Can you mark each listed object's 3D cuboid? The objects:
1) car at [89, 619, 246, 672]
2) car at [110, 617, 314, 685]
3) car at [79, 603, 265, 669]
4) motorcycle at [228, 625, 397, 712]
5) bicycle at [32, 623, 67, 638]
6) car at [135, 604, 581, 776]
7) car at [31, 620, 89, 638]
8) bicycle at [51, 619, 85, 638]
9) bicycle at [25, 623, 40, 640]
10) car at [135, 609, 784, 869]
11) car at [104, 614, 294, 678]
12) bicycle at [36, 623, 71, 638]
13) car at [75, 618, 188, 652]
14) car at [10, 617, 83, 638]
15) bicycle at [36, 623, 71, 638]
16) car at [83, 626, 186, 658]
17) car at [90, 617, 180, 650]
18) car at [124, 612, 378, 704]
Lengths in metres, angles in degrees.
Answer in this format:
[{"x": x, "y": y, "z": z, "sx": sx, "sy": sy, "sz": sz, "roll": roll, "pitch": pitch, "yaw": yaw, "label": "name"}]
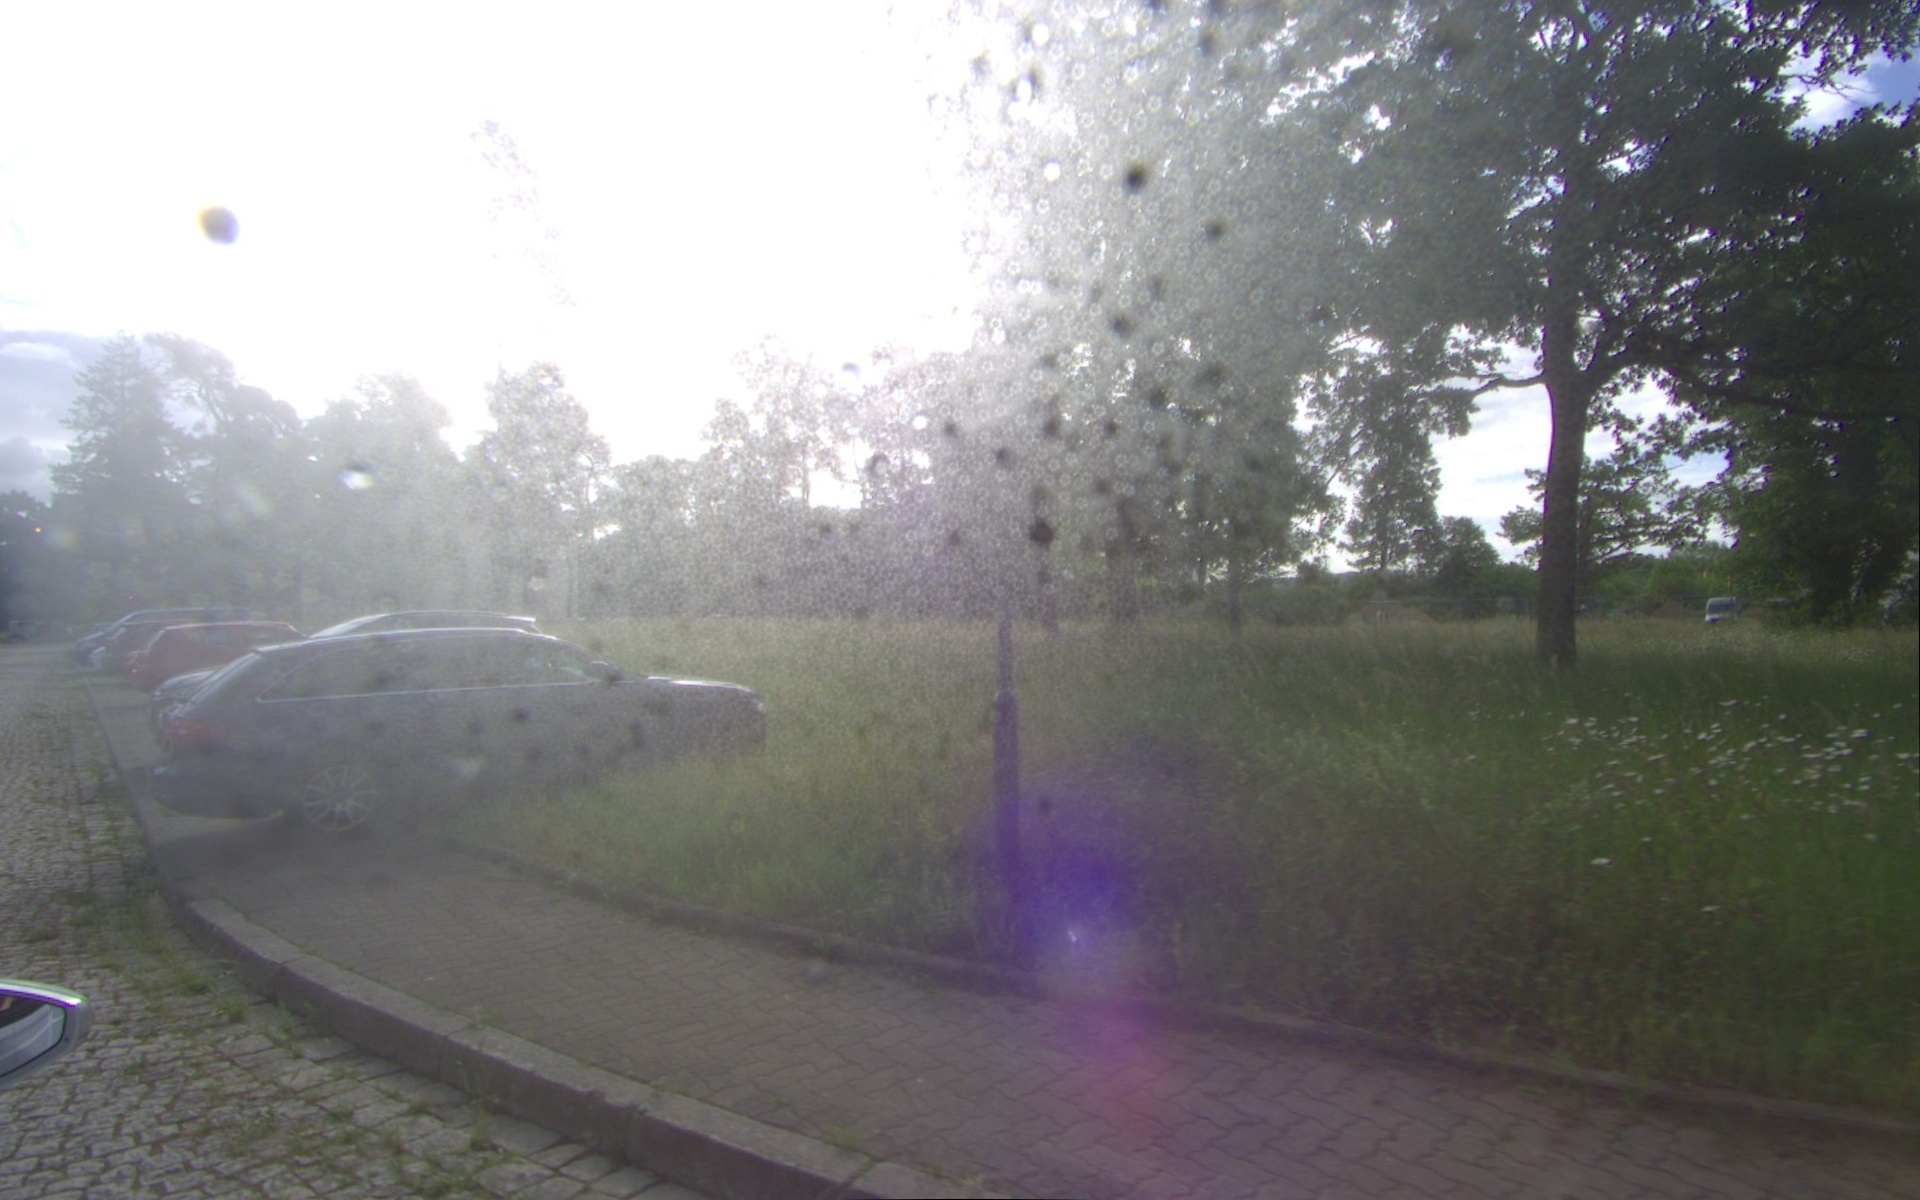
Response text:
[{"x": -24.946, "y": 1.393, "z": 31.590, "sx": 1.638, "sy": 1.443, "sz": 3.698, "roll": -1, "pitch": 1, "yaw": 45, "label": "car"}, {"x": -18.716, "y": 1.208, "z": 25.154, "sx": 3.959, "sy": 1.538, "sz": 1.722, "roll": 0, "pitch": -1, "yaw": -43, "label": "car"}, {"x": -26.411, "y": 1.151, "z": 33.685, "sx": 4.752, "sy": 2.066, "sz": 1.721, "roll": 0, "pitch": 0, "yaw": -45, "label": "car"}, {"x": -10.595, "y": 1.081, "z": 16.475, "sx": 0.599, "sy": 1.292, "sz": 2.252, "roll": -1, "pitch": 0, "yaw": 42, "label": "motorcycle"}, {"x": -78.354, "y": 2.641, "z": 86.202, "sx": 0.803, "sy": 1.285, "sz": 2.150, "roll": 0, "pitch": -1, "yaw": 41, "label": "bicycle"}, {"x": -6.972, "y": 0.888, "z": 11.875, "sx": 4.232, "sy": 1.594, "sz": 1.877, "roll": -1, "pitch": 1, "yaw": -43, "label": "car"}, {"x": -86.328, "y": 2.747, "z": 96.027, "sx": 1.977, "sy": 1.665, "sz": 3.967, "roll": -1, "pitch": -1, "yaw": 41, "label": "car"}, {"x": -77.170, "y": 2.479, "z": 86.619, "sx": 0.803, "sy": 1.637, "sz": 2.150, "roll": 0, "pitch": -1, "yaw": 41, "label": "bicycle"}, {"x": -75.413, "y": 2.557, "z": 81.420, "sx": 0.804, "sy": 1.285, "sz": 1.956, "roll": 0, "pitch": -1, "yaw": -41, "label": "bicycle"}, {"x": -3.907, "y": 0.878, "z": 8.319, "sx": 4.467, "sy": 1.484, "sz": 1.880, "roll": -2, "pitch": 1, "yaw": -39, "label": "car"}, {"x": -20.439, "y": 1.179, "z": 26.992, "sx": 3.925, "sy": 1.601, "sz": 1.745, "roll": 1, "pitch": -1, "yaw": -44, "label": "car"}, {"x": -76.986, "y": 2.595, "z": 85.037, "sx": 0.803, "sy": 1.285, "sz": 2.150, "roll": 0, "pitch": -1, "yaw": 41, "label": "bicycle"}, {"x": -40.597, "y": 1.667, "z": 49.132, "sx": 1.645, "sy": 1.564, "sz": 4.101, "roll": 0, "pitch": 0, "yaw": 42, "label": "car"}, {"x": -89.203, "y": 2.681, "z": 97.792, "sx": 1.975, "sy": 2.040, "sz": 5.033, "roll": -1, "pitch": -1, "yaw": 37, "label": "car"}, {"x": -77.378, "y": 2.612, "z": 85.467, "sx": 0.803, "sy": 1.285, "sz": 2.150, "roll": 0, "pitch": -1, "yaw": 41, "label": "bicycle"}, {"x": -35.919, "y": 1.793, "z": 43.613, "sx": 1.645, "sy": 1.284, "sz": 3.275, "roll": -1, "pitch": -1, "yaw": 42, "label": "car"}, {"x": -42.132, "y": 1.682, "z": 51.180, "sx": 1.375, "sy": 1.564, "sz": 3.371, "roll": 0, "pitch": 0, "yaw": 42, "label": "car"}, {"x": -13.712, "y": 1.041, "z": 19.497, "sx": 3.813, "sy": 1.525, "sz": 1.721, "roll": -1, "pitch": 0, "yaw": -44, "label": "car"}]
